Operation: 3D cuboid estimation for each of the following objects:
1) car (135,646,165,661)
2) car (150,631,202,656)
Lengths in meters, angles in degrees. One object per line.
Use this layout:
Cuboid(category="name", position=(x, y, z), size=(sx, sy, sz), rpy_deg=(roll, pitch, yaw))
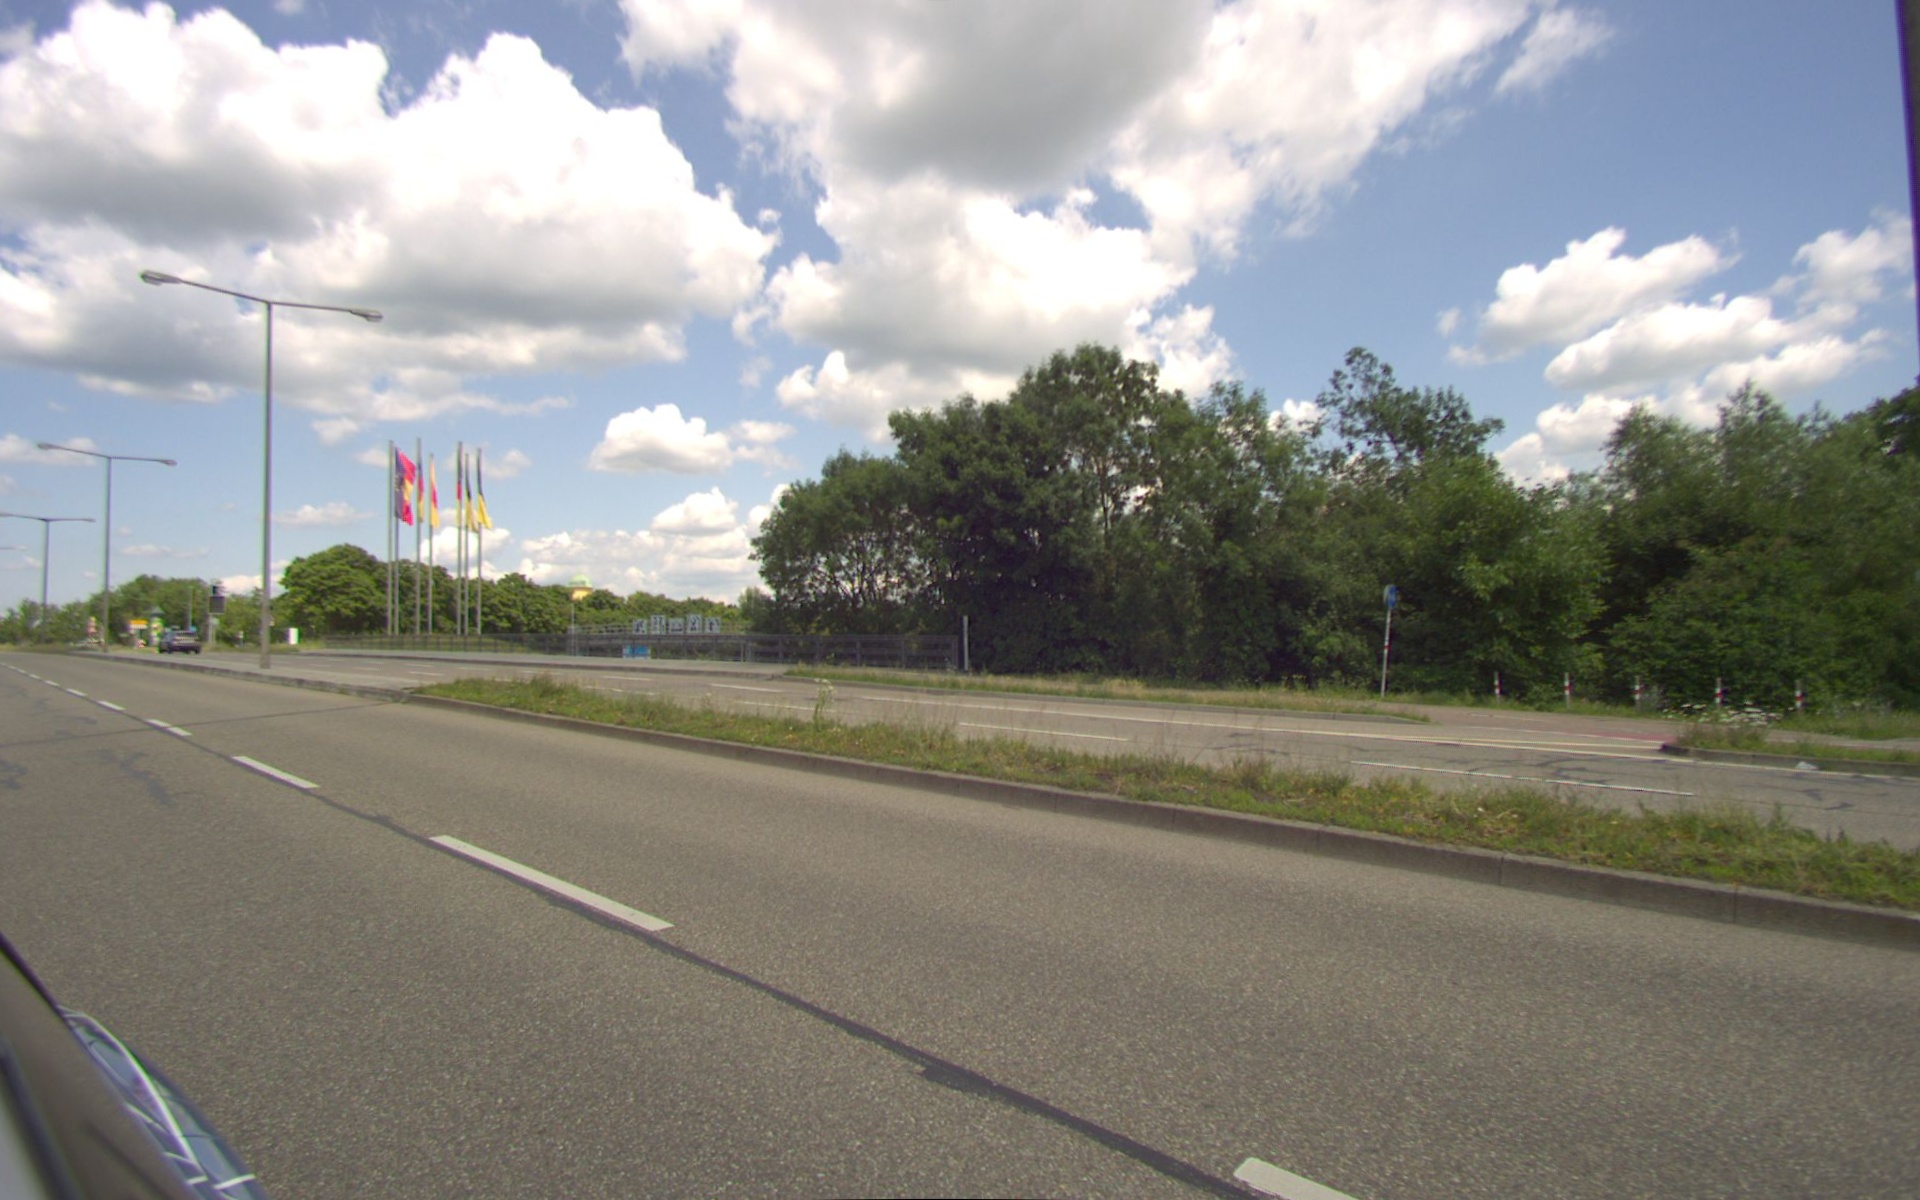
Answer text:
Cuboid(category="car", position=(-75.647, 5.003, 94.448), size=(1.644, 1.424, 4.552), rpy_deg=(5, -6, -45))
Cuboid(category="car", position=(-57.304, 3.214, 73.936), size=(4.547, 1.639, 2.066), rpy_deg=(-3, -7, 41))
